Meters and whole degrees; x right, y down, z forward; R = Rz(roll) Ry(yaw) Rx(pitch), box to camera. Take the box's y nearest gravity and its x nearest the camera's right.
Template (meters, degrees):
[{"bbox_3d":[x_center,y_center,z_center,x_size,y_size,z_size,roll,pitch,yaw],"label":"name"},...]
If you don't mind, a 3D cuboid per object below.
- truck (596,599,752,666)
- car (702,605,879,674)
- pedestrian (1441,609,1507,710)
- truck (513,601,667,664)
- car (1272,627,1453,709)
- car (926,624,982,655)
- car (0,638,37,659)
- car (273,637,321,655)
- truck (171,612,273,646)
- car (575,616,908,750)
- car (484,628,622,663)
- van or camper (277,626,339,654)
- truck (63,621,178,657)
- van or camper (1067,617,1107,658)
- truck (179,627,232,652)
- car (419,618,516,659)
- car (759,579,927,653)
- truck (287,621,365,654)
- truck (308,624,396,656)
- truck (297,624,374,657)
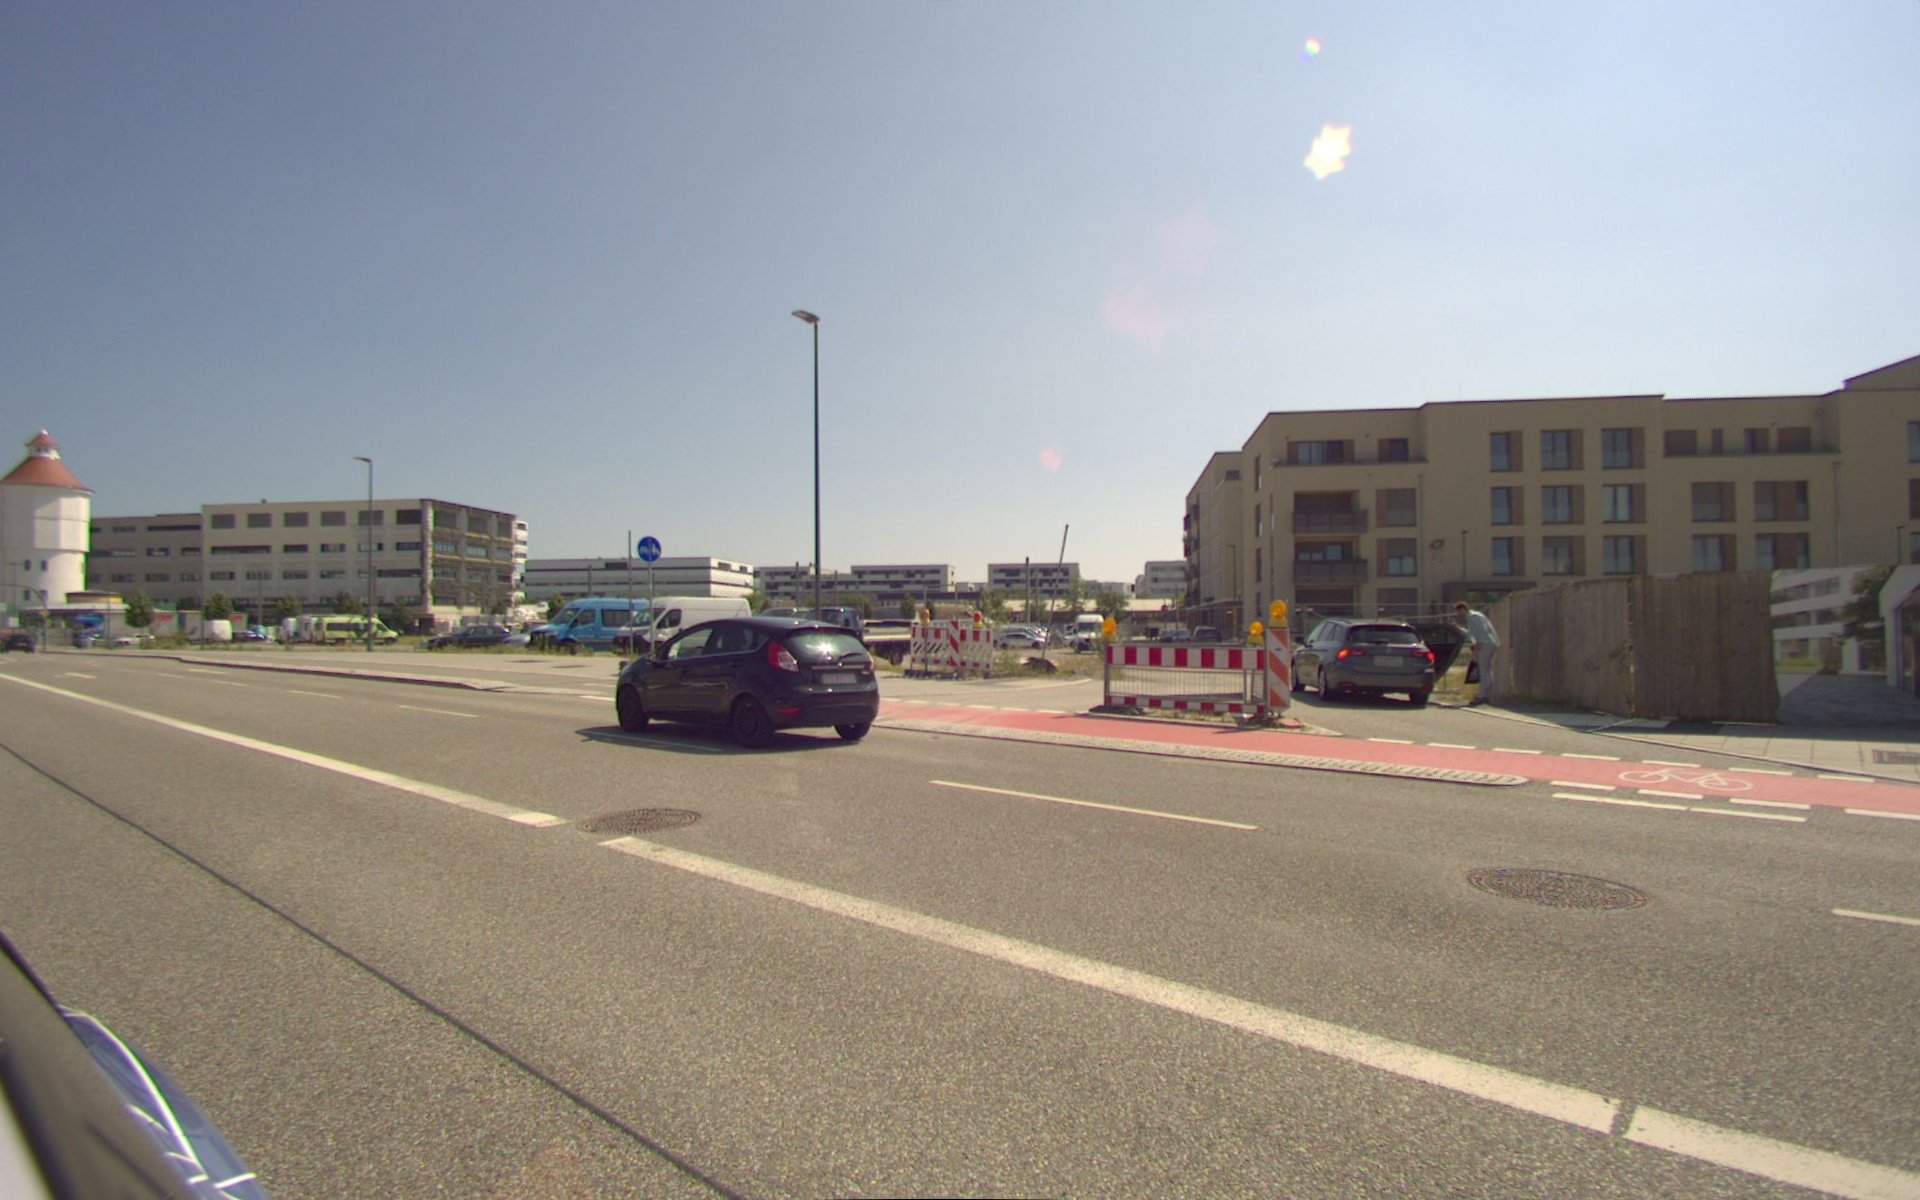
[{"bbox_3d":[-10.908,1.273,38.995,2.273,2.381,5.510,-2,-3,39],"label":"truck"},{"bbox_3d":[-5.718,1.316,34.822,2.394,2.182,5.821,-2,-2,41],"label":"car"},{"bbox_3d":[8.904,1.009,17.552,0.676,1.696,0.758,-1,0,-14],"label":"pedestrian"},{"bbox_3d":[-16.000,1.426,44.113,2.275,2.563,5.939,-3,-3,42],"label":"truck"},{"bbox_3d":[7.194,1.200,18.586,1.975,1.328,4.239,-1,-2,6],"label":"car"},{"bbox_3d":[-0.433,2.893,74.966,3.951,2.258,1.996,-1,-2,6],"label":"car"},{"bbox_3d":[-75.058,3.824,80.480,4.385,1.640,1.883,-2,-3,41],"label":"car"},{"bbox_3d":[-68.842,4.754,105.075,1.655,1.772,3.829,-3,-2,37],"label":"car"},{"bbox_3d":[-100.465,3.893,137.964,3.331,4.307,10.839,-1,0,30],"label":"truck"},{"bbox_3d":[-2.812,0.918,12.405,4.454,1.362,1.686,-2,-3,41],"label":"car"},{"bbox_3d":[-18.591,2.065,46.528,2.105,1.485,5.595,-2,-2,39],"label":"car"},{"bbox_3d":[-66.125,4.086,102.695,2.258,2.682,4.849,-3,-2,41],"label":"van or camper"},{"bbox_3d":[-105.681,4.779,127.640,3.281,4.098,10.894,-1,0,23],"label":"truck"},{"bbox_3d":[8.382,2.507,67.391,1.909,2.578,5.927,0,-2,0],"label":"van or camper"},{"bbox_3d":[-81.636,4.290,109.534,5.914,2.675,2.154,-1,-2,26],"label":"truck"},{"bbox_3d":[-24.163,1.907,49.741,3.938,1.918,1.830,2,-3,-42],"label":"car"},{"bbox_3d":[-3.702,0.588,32.960,2.392,2.190,5.391,-2,-3,38],"label":"car"},{"bbox_3d":[-62.765,3.663,100.350,2.570,2.923,6.080,-1,0,42],"label":"truck"},{"bbox_3d":[-56.890,3.715,94.833,2.599,2.847,6.572,-2,-2,38],"label":"truck"},{"bbox_3d":[-59.522,3.821,96.582,2.569,2.846,5.776,-1,0,40],"label":"truck"}]
